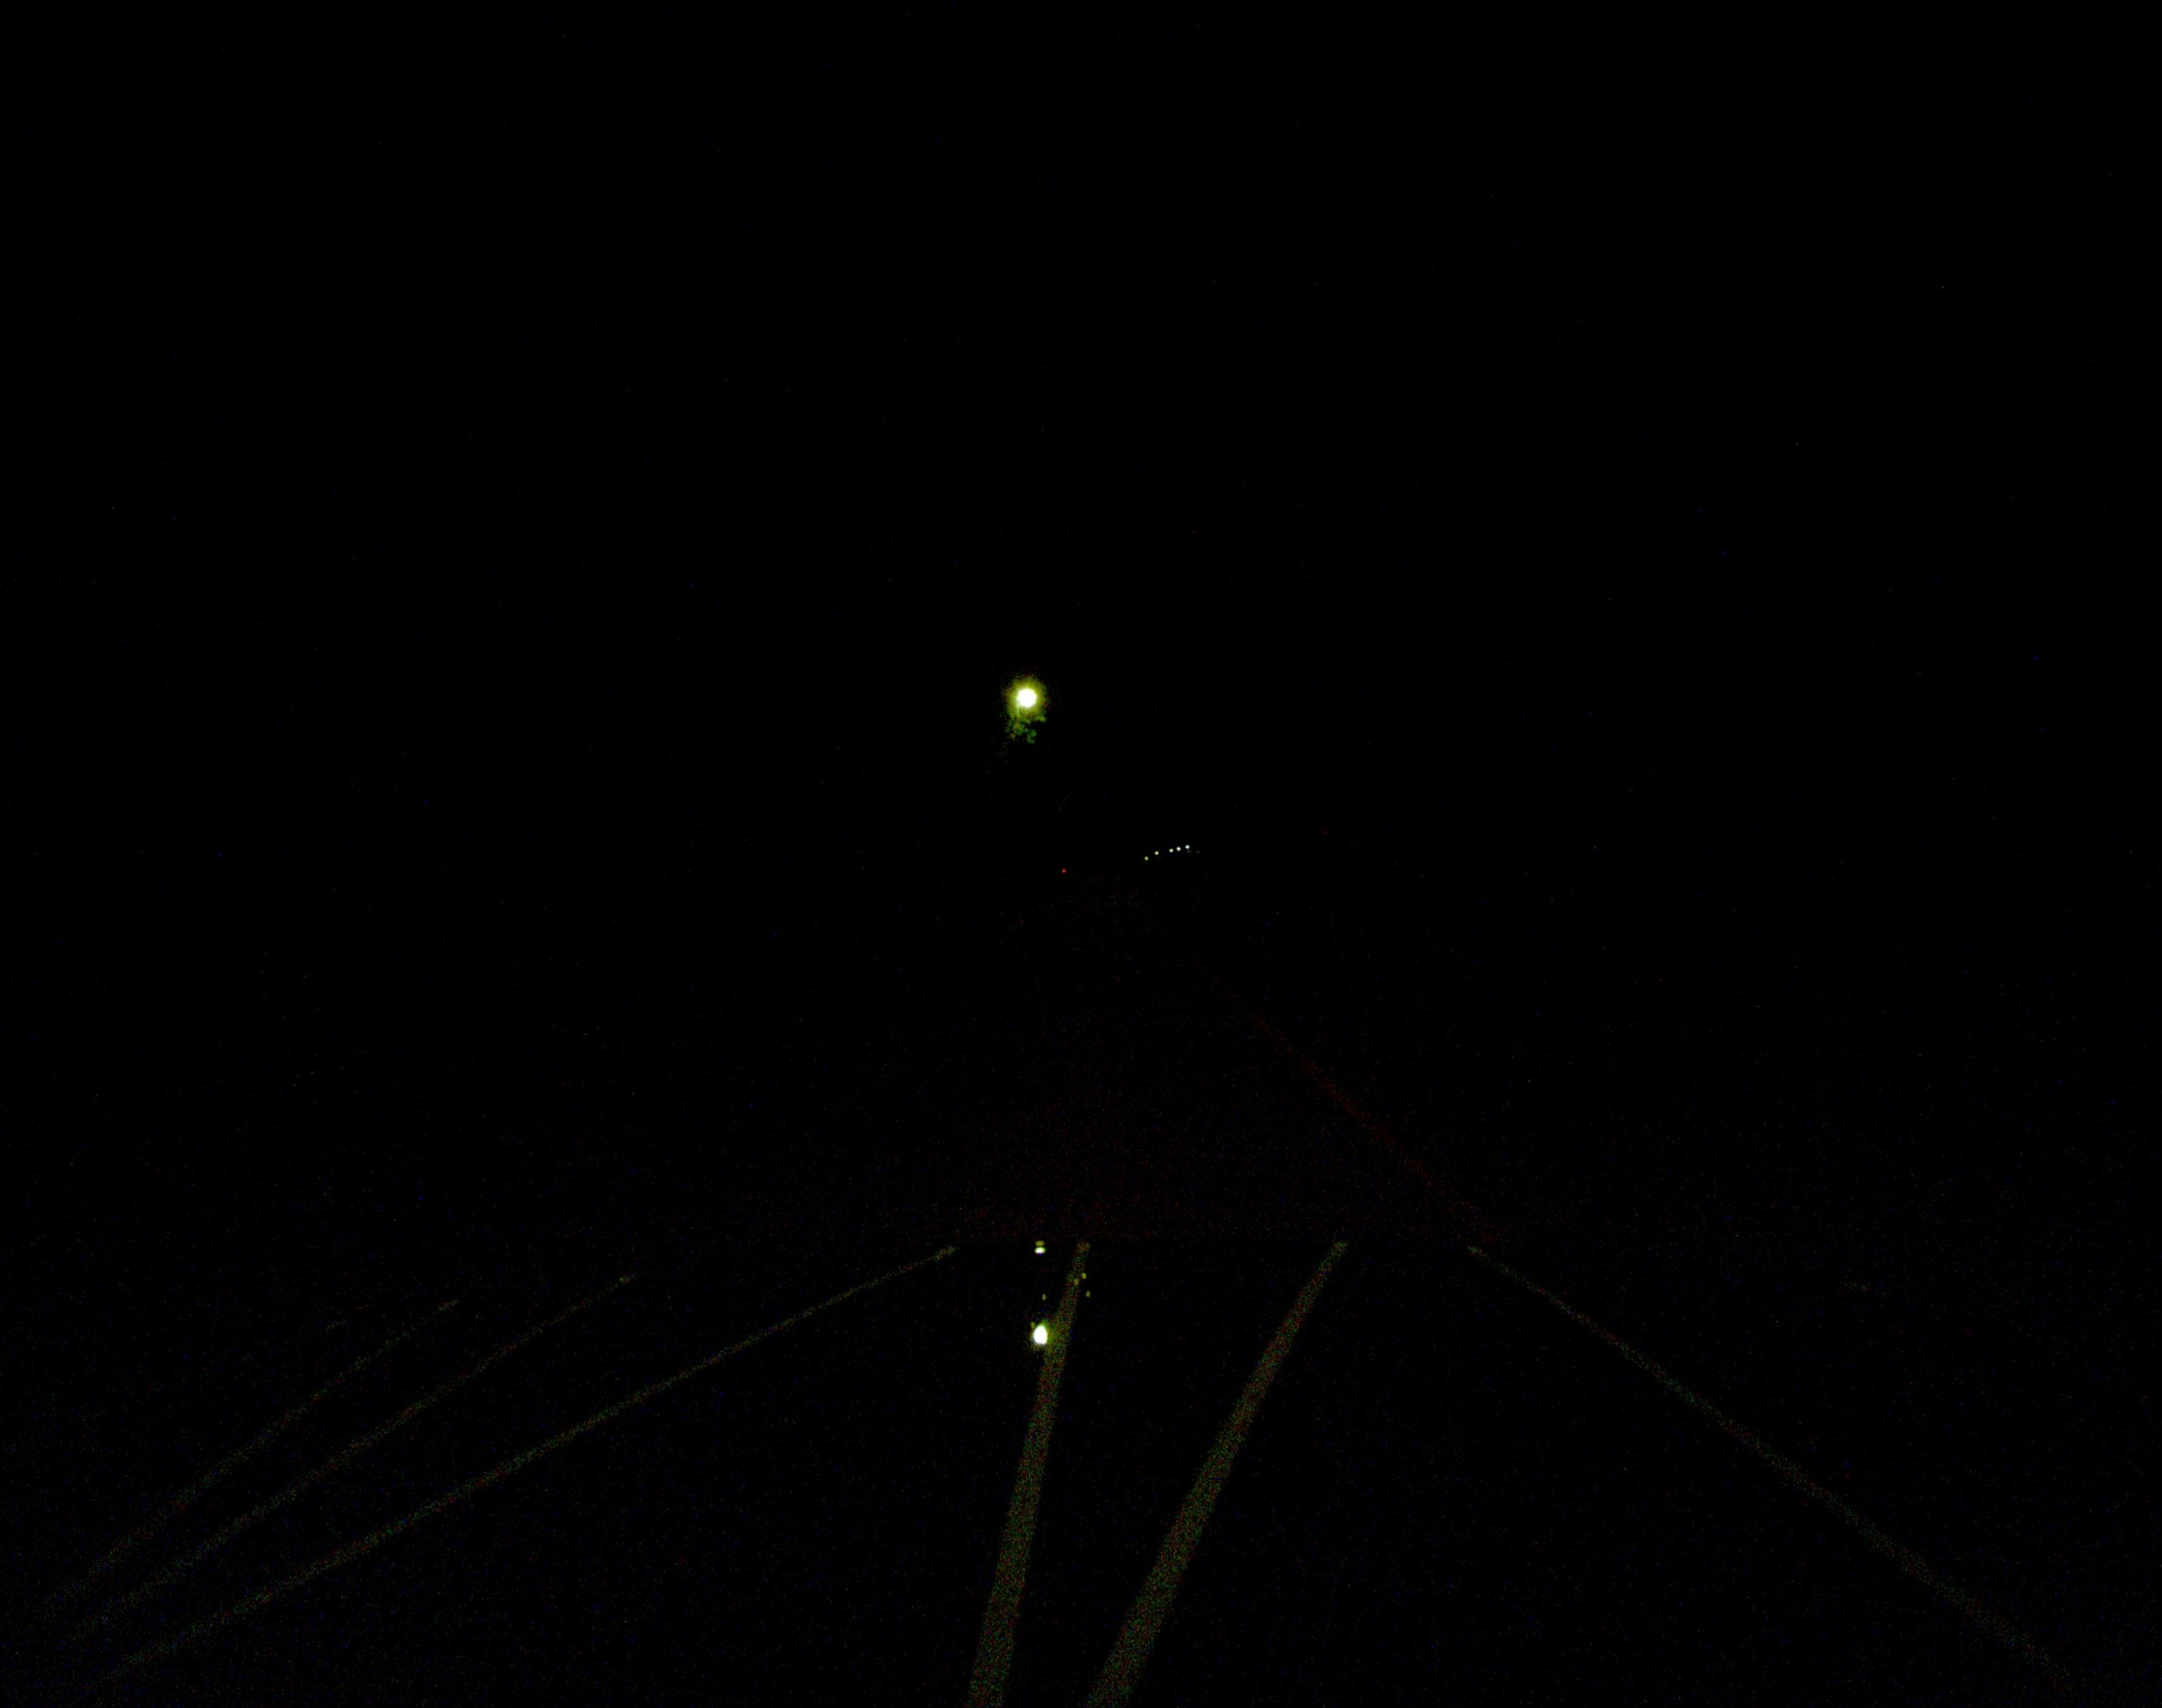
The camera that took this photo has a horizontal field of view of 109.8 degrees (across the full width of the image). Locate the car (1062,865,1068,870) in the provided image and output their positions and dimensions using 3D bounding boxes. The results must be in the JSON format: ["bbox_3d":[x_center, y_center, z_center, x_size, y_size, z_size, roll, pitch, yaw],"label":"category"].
[{"bbox_3d":[-4.587,3.872,221.564,1.651,1.482,3.557,-2,-1,-2],"label":"car"}]
